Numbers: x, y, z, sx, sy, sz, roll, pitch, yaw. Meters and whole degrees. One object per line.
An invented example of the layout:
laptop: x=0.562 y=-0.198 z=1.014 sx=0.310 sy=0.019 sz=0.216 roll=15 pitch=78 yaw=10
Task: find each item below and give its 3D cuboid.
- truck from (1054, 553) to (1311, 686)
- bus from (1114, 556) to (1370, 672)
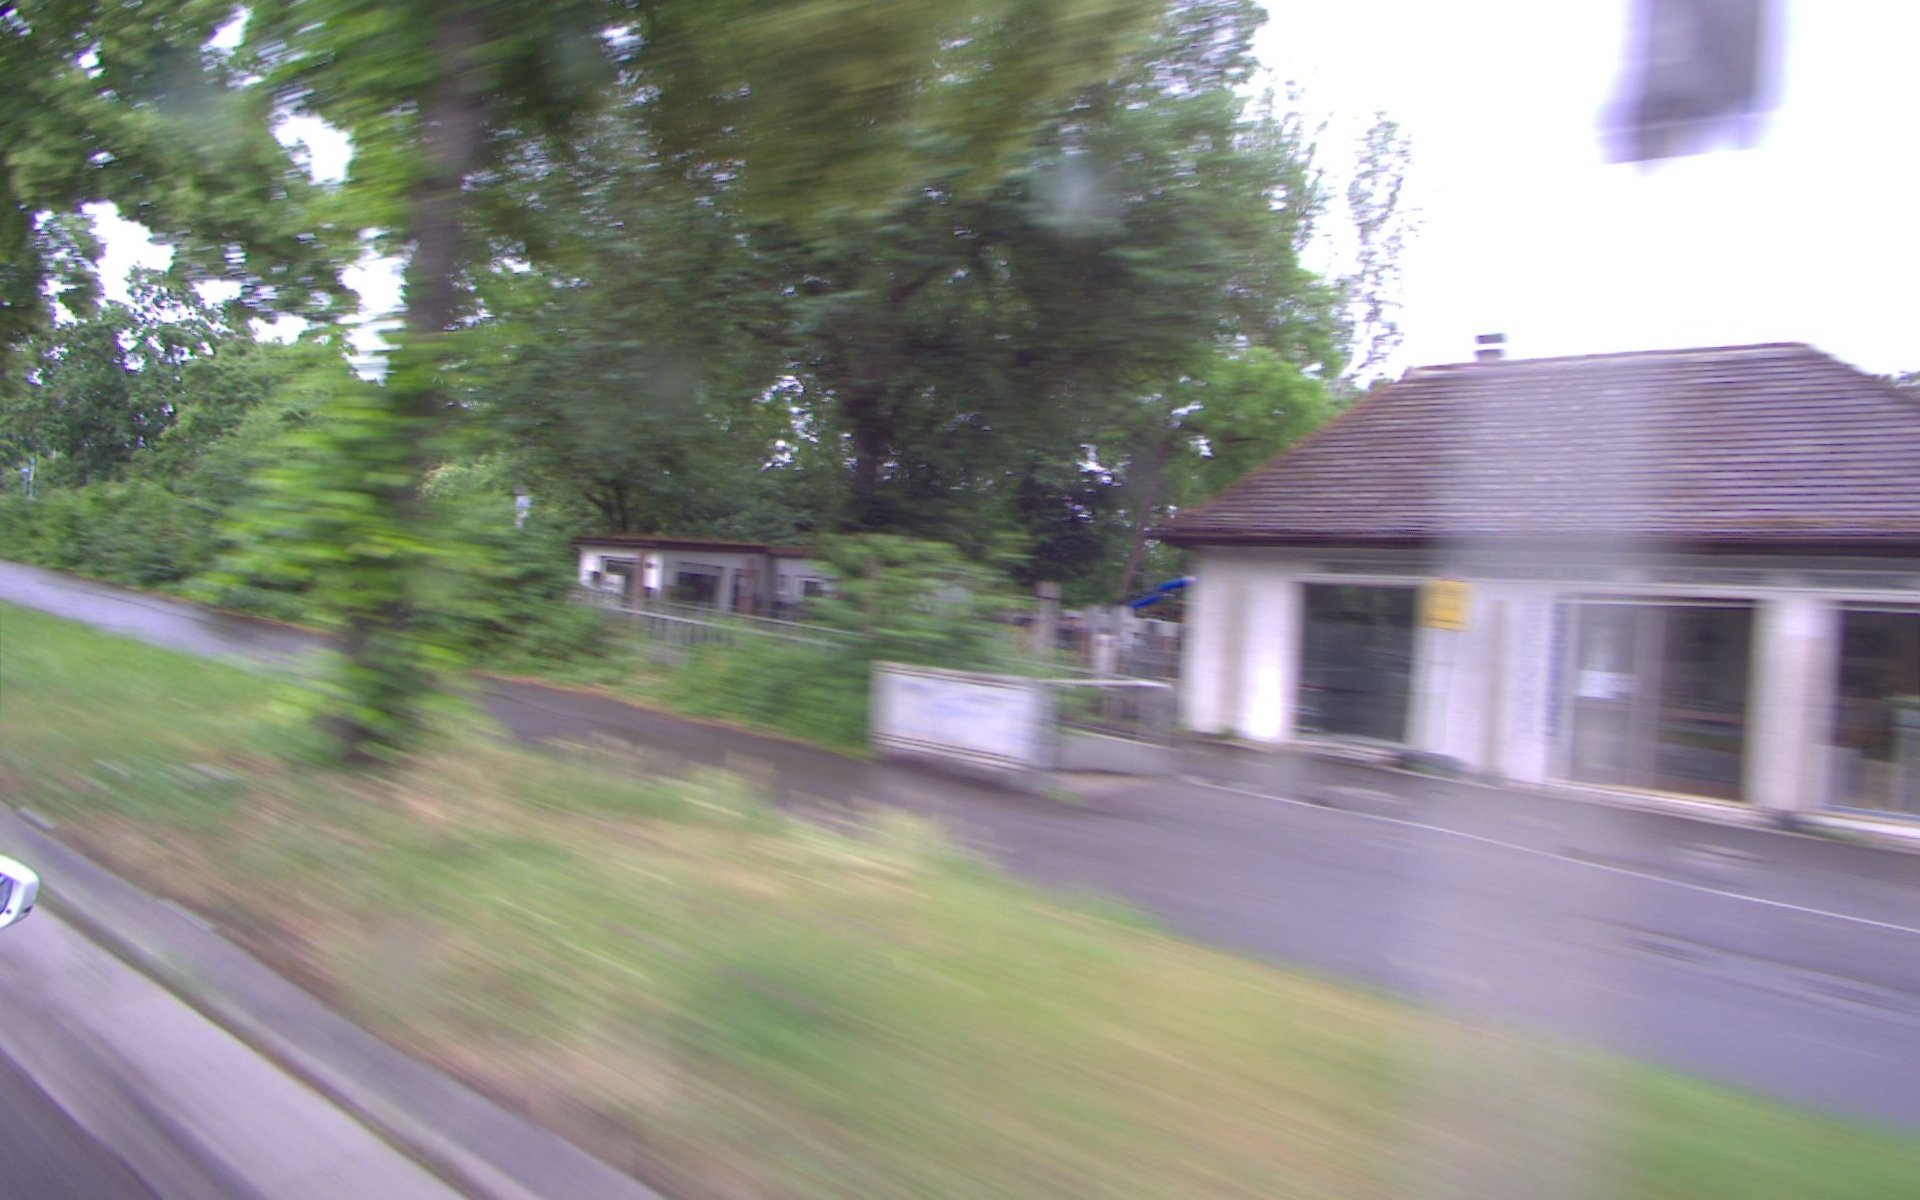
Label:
truck: x=6.174 y=0.494 z=28.281 sx=6.491 sy=2.904 sz=2.056 roll=7 pitch=1 yaw=28
bus: x=8.598 y=0.376 z=31.219 sx=7.056 sy=2.735 sz=2.251 roll=7 pitch=1 yaw=36
